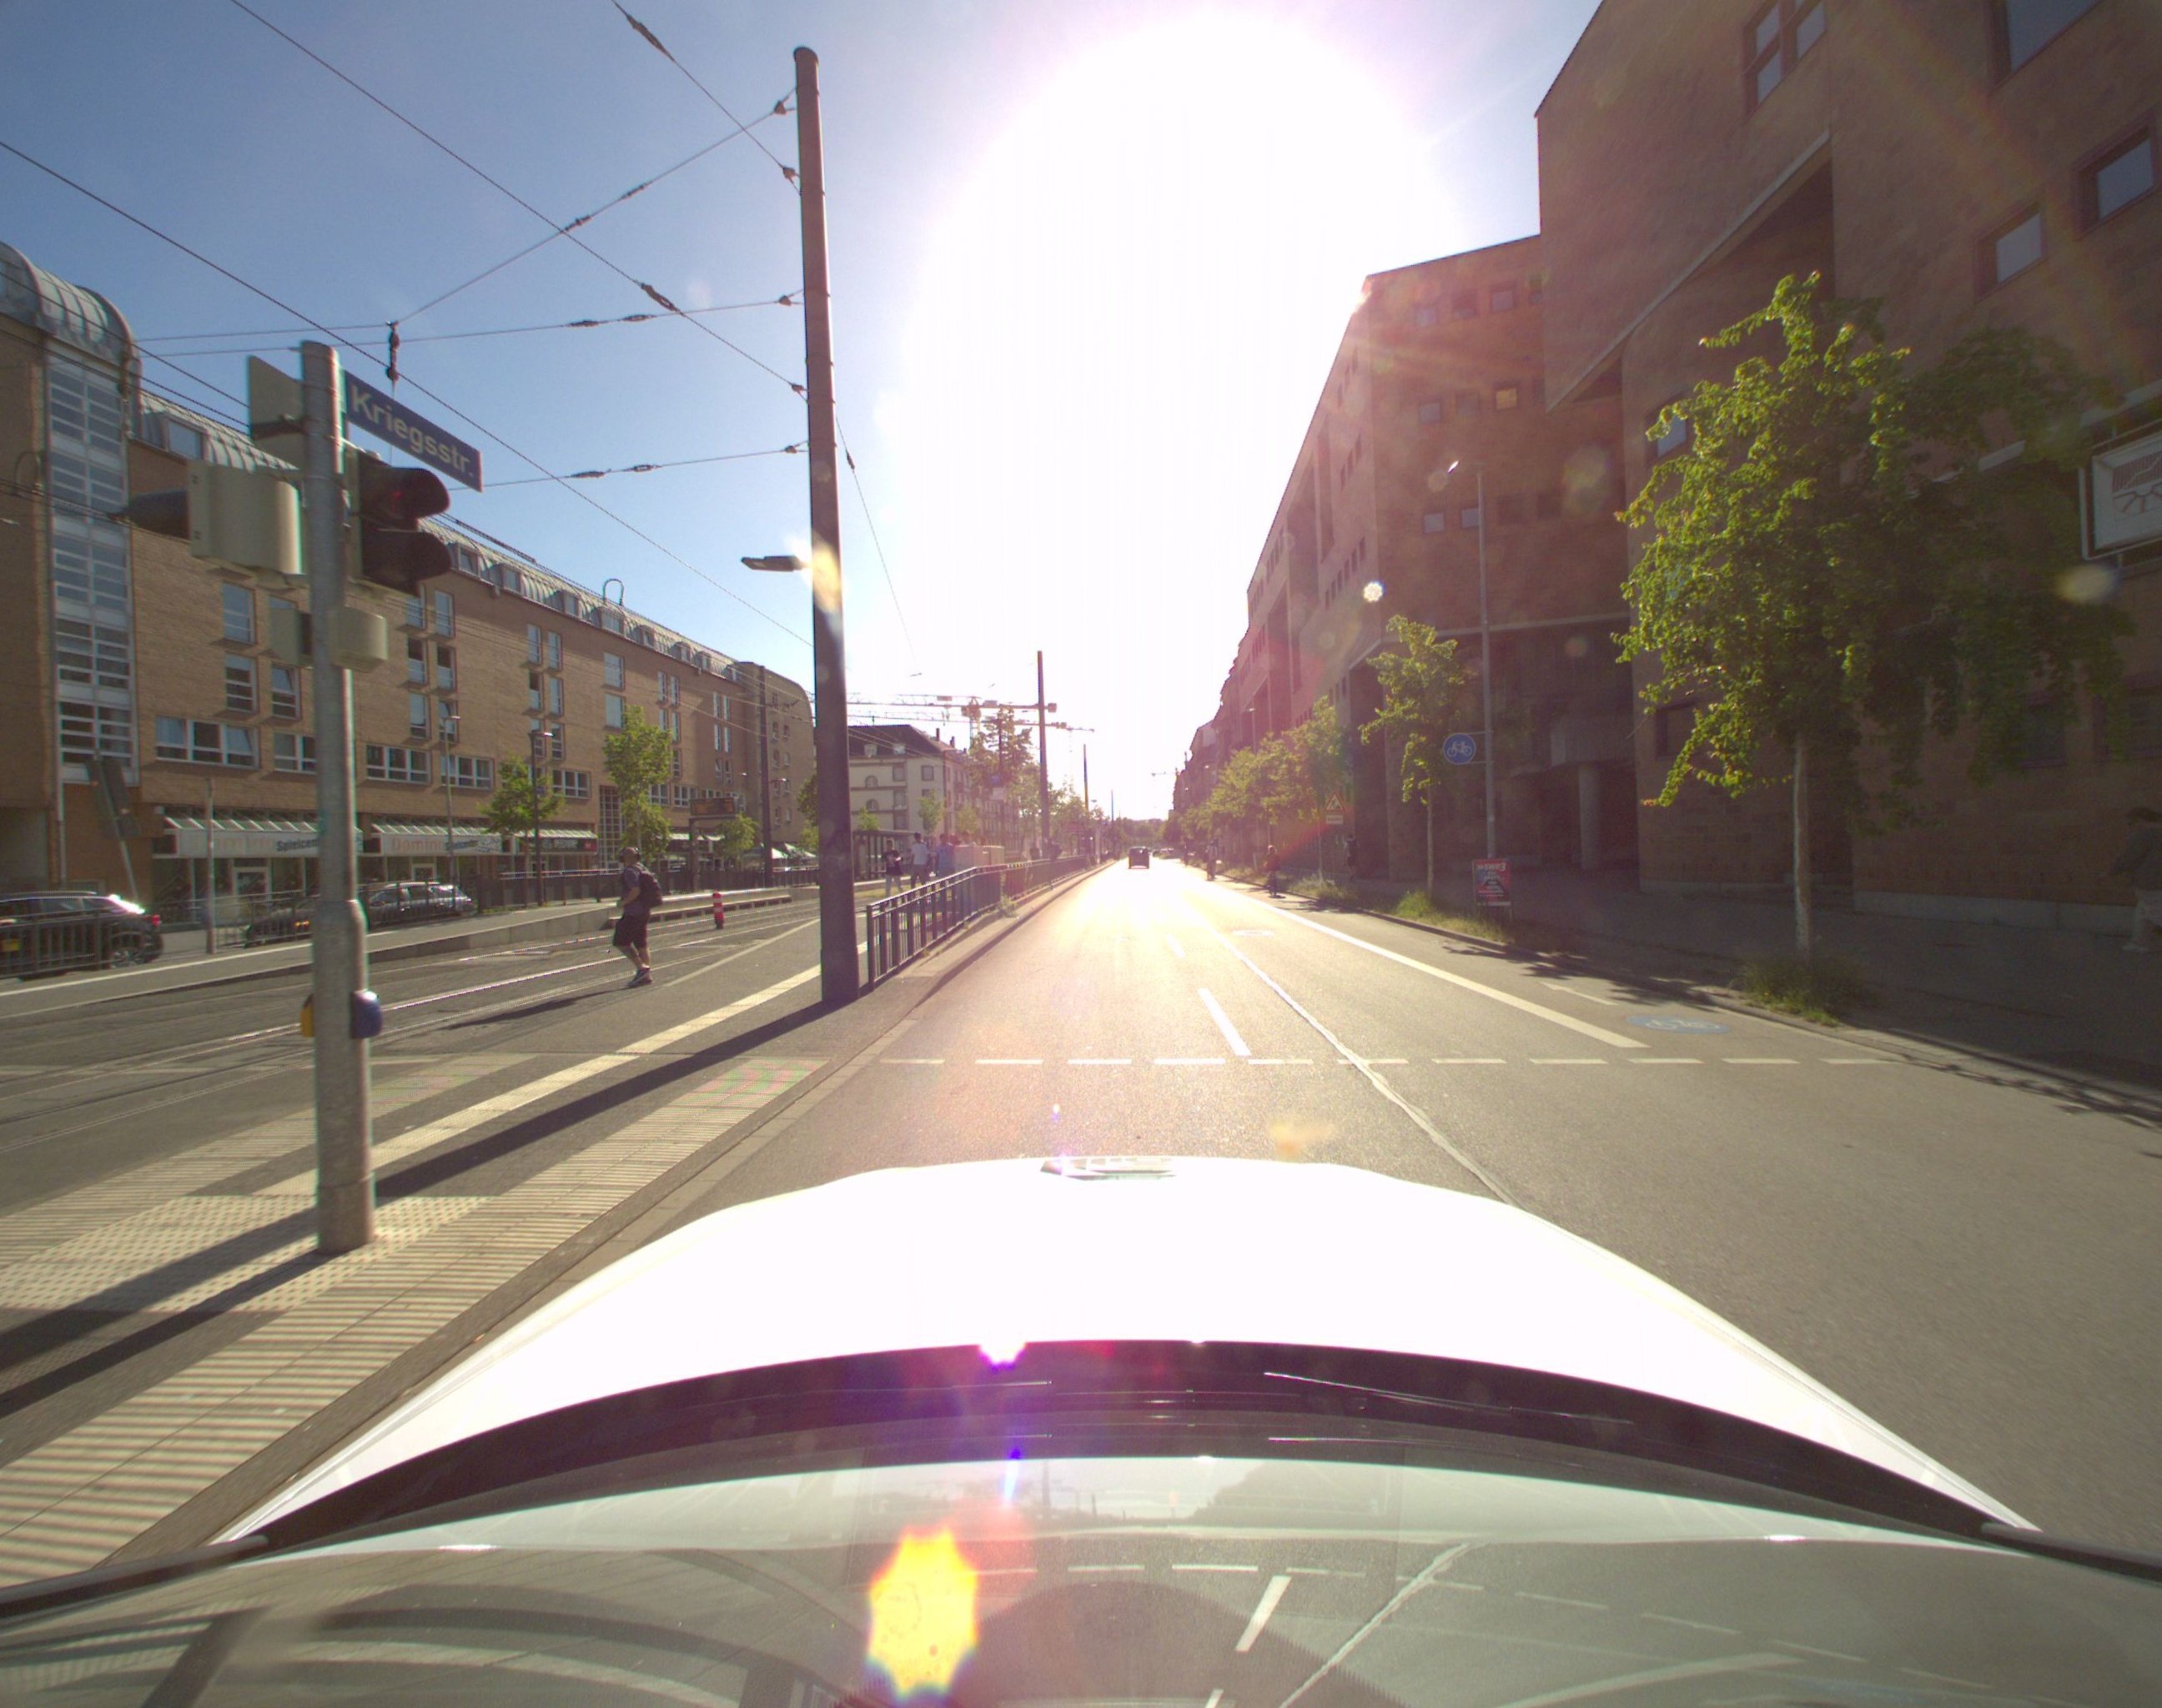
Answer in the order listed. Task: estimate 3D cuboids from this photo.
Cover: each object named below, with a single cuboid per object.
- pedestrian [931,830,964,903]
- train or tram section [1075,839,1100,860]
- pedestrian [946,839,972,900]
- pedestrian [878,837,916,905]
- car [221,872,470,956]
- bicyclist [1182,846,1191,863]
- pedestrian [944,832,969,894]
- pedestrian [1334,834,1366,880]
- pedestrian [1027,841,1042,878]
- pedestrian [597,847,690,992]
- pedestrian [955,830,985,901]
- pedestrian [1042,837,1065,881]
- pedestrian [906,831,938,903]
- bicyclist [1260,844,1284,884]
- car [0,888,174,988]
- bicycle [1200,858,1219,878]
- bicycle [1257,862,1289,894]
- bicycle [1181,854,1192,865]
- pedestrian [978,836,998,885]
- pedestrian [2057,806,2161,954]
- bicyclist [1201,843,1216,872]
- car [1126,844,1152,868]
[{"bbox_3d":[-3.171,0.289,19.372,0.536,1.655,0.896,-2,0,2],"label":"pedestrian"},{"bbox_3d":[1.052,-0.751,124.360,2.314,3.003,13.185,-1,1,7],"label":"train or tram section"},{"bbox_3d":[-3.158,0.390,21.065,0.517,1.551,0.600,-2,0,0],"label":"pedestrian"},{"bbox_3d":[-4.393,0.391,19.476,0.598,1.566,0.914,-2,0,2],"label":"pedestrian"},{"bbox_3d":[-16.774,1.283,18.925,1.602,1.398,4.232,-6,1,4],"label":"car"},{"bbox_3d":[9.690,0.035,74.842,0.664,1.527,0.707,-2,0,1],"label":"bicyclist"},{"bbox_3d":[-3.674,0.253,24.031,0.536,1.773,0.634,-2,0,1],"label":"pedestrian"},{"bbox_3d":[10.316,0.100,31.225,0.876,1.717,0.932,-2,0,1],"label":"pedestrian"},{"bbox_3d":[-2.153,0.247,37.789,0.598,1.655,0.666,-2,0,1],"label":"pedestrian"},{"bbox_3d":[-5.464,0.785,10.202,0.866,1.669,0.611,-5,1,-28],"label":"pedestrian"},{"bbox_3d":[-2.644,0.275,19.485,0.536,1.655,0.707,-2,0,1],"label":"pedestrian"},{"bbox_3d":[-1.087,0.196,32.368,0.717,1.735,0.599,-2,0,-15],"label":"pedestrian"},{"bbox_3d":[-3.746,0.304,19.188,0.508,1.655,0.762,-2,0,2],"label":"pedestrian"},{"bbox_3d":[6.548,0.350,28.001,0.590,1.335,0.934,-2,0,2],"label":"bicyclist"},{"bbox_3d":[-17.262,1.422,12.680,1.602,1.398,3.924,-6,1,4],"label":"car"},{"bbox_3d":[6.916,0.729,43.972,0.664,0.985,2.587,-2,0,2],"label":"bicycle"},{"bbox_3d":[6.568,0.801,28.004,0.601,0.985,2.316,-2,0,2],"label":"bicycle"},{"bbox_3d":[9.703,0.485,74.889,0.664,0.985,2.587,-2,0,2],"label":"bicycle"},{"bbox_3d":[-3.178,0.214,27.872,0.536,1.655,0.634,-2,0,1],"label":"pedestrian"},{"bbox_3d":[11.694,0.265,8.990,0.615,1.563,0.987,-2,0,1],"label":"pedestrian"},{"bbox_3d":[6.891,0.196,43.947,0.664,1.527,0.707,-2,0,1],"label":"bicyclist"},{"bbox_3d":[4.891,0.166,69.137,1.986,1.947,4.002,-2,0,2],"label":"car"}]
